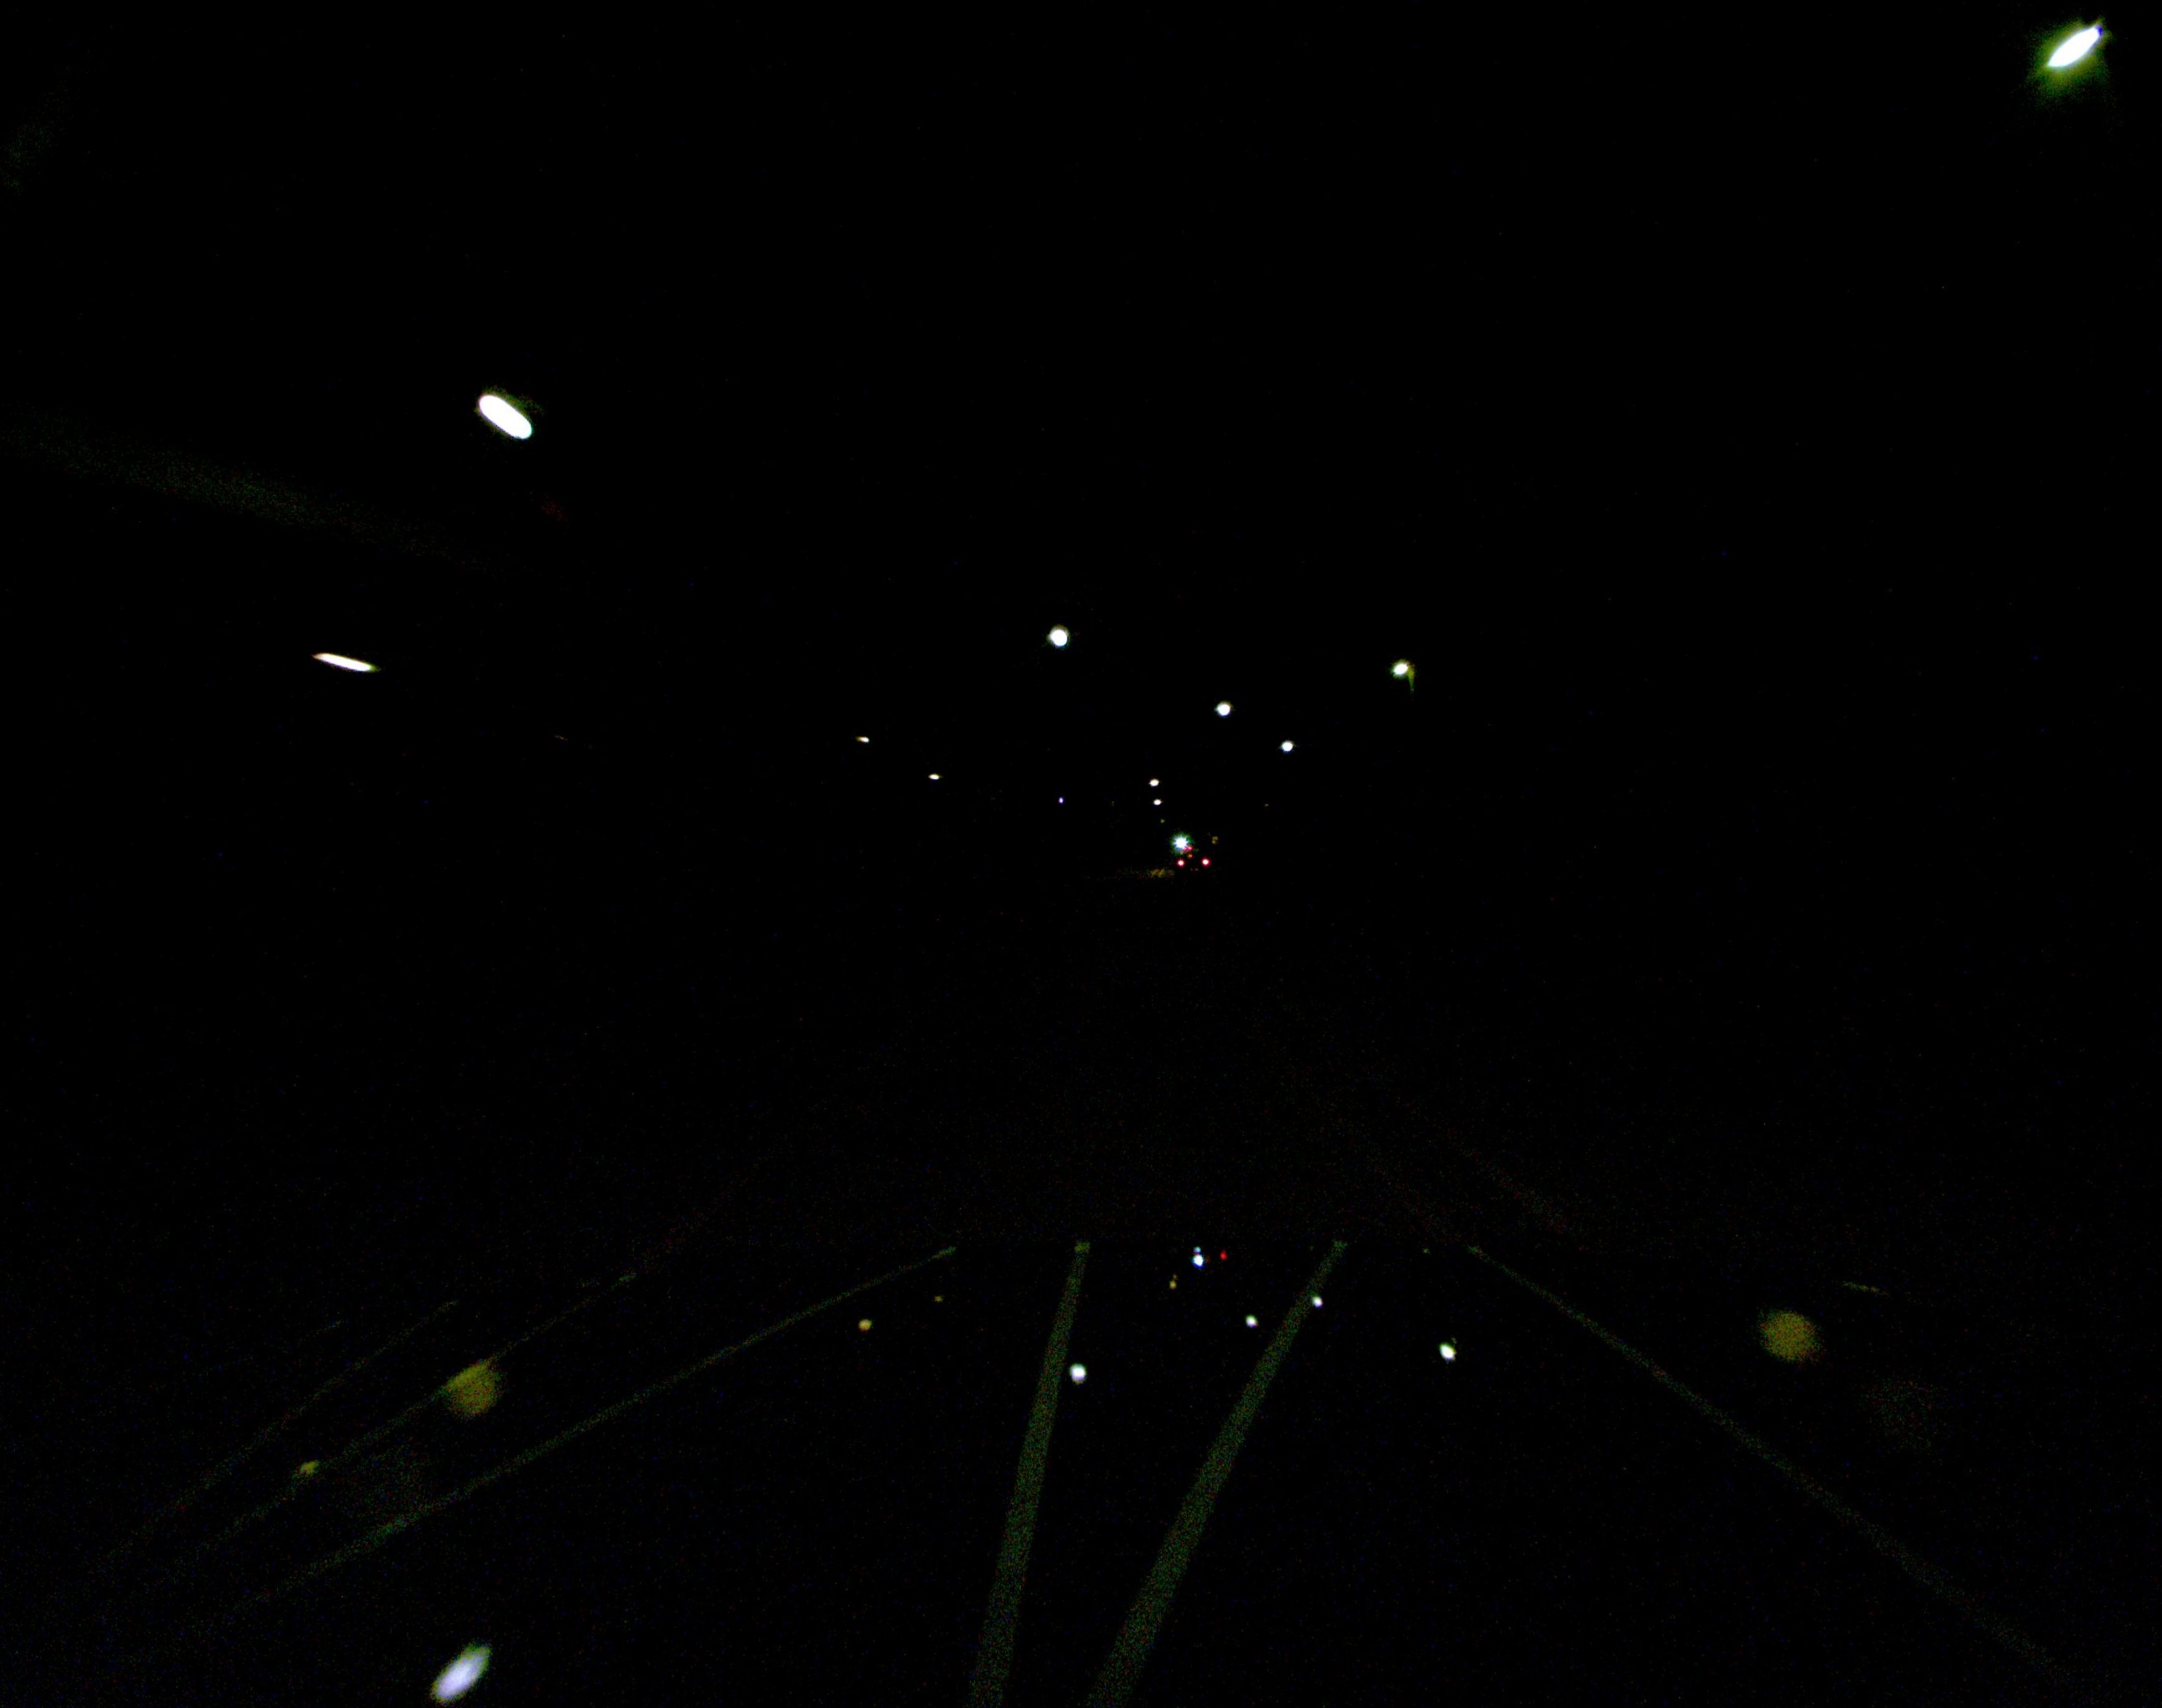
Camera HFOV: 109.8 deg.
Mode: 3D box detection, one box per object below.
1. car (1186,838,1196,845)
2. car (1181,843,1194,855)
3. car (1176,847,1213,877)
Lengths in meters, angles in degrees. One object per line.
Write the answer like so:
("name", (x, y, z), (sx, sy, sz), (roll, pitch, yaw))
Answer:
("car", (25.012, -2.814, 173.186), (1.884, 1.545, 4.221), (-2, 1, 13))
("car", (15.215, -0.693, 108.529), (1.791, 1.439, 4.173), (-3, 1, 8))
("car", (6.285, 0.402, 42.271), (1.862, 1.501, 4.001), (-2, 1, 7))
